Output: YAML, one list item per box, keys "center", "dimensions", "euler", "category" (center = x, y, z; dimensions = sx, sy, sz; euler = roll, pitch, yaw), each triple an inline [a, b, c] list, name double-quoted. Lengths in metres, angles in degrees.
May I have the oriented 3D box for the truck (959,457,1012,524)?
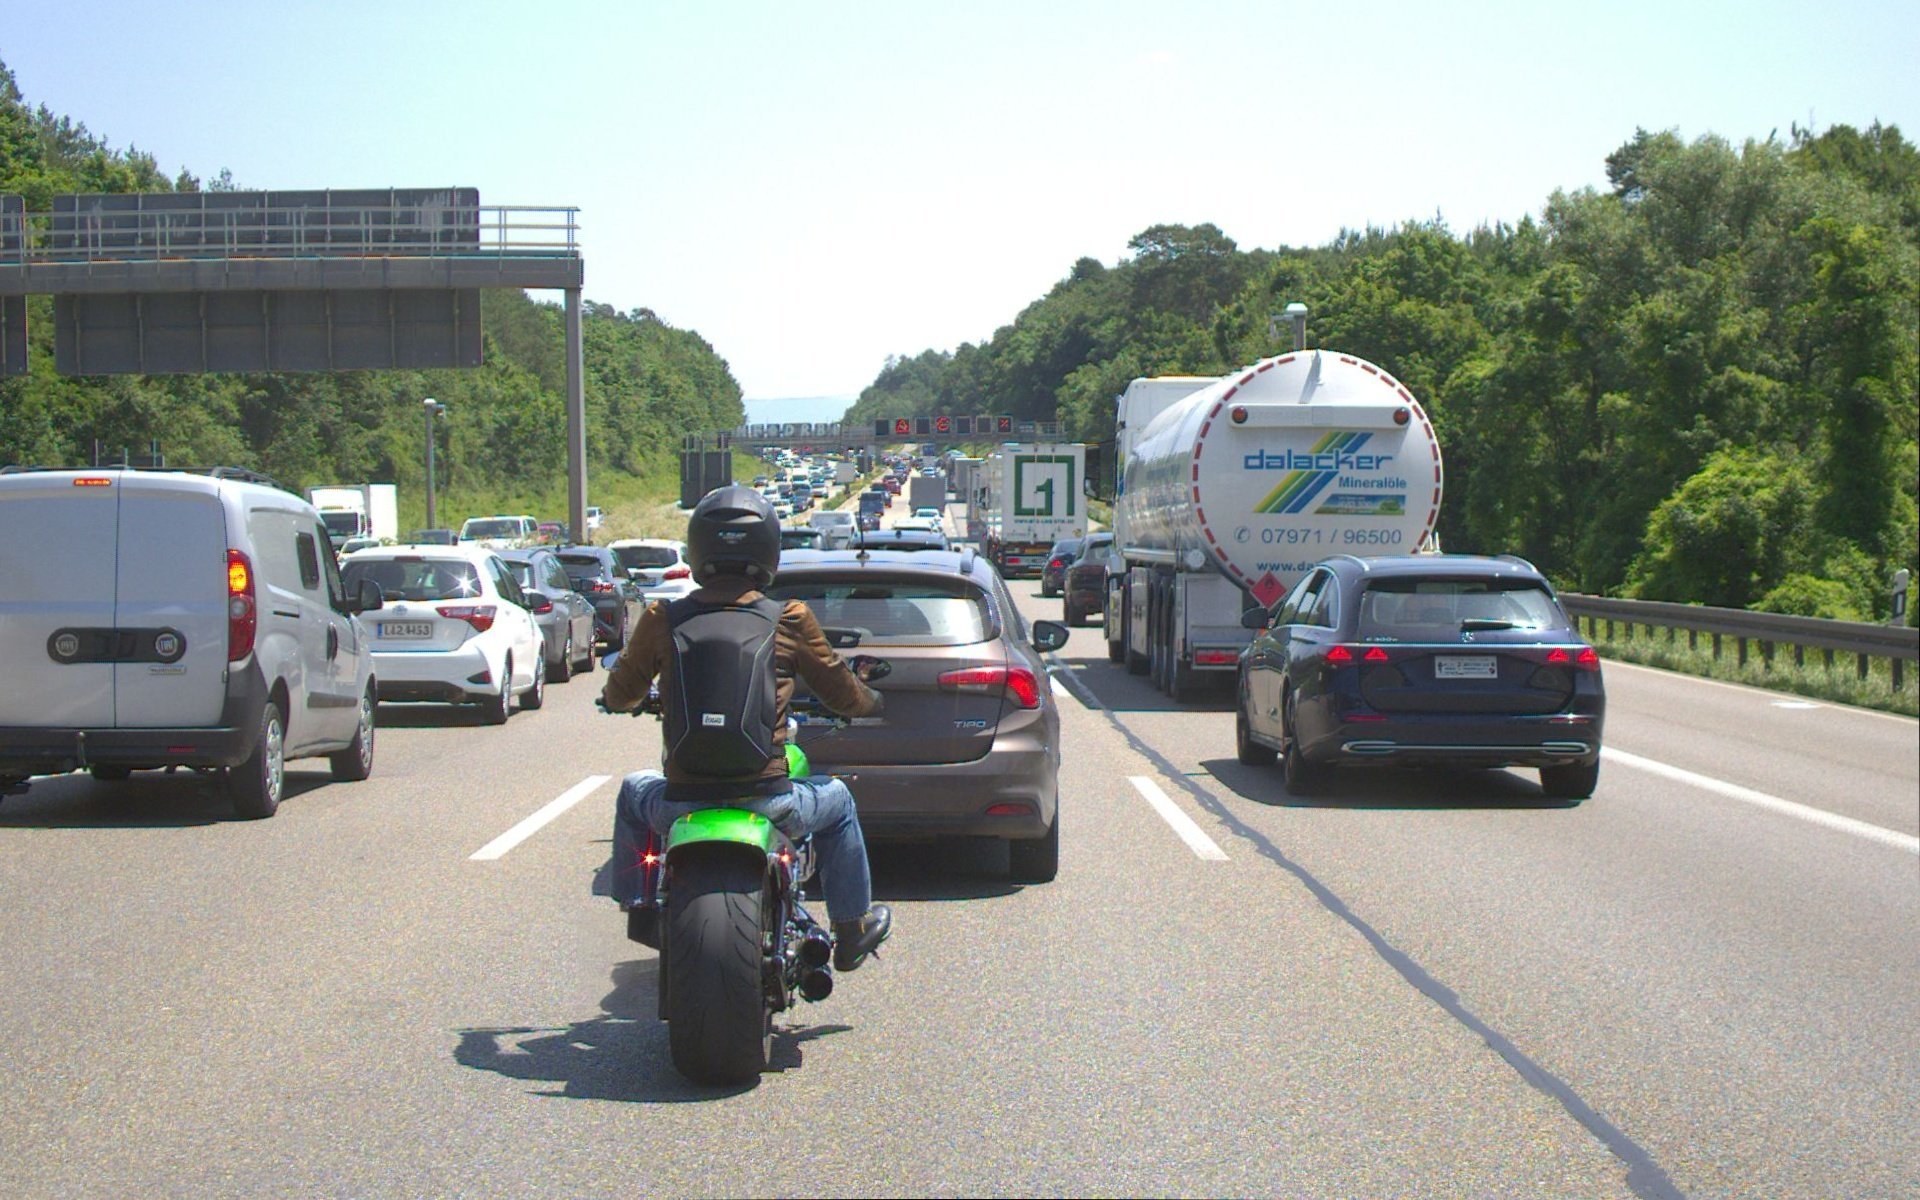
- center: [1.327, -5.868, 186.239]
  dimensions: [2.696, 3.394, 10.479]
  euler: [-1, 1, 0]
  category: "truck"

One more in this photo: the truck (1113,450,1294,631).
- center: [4.198, -1.055, 60.817]
  dimensions: [2.388, 2.969, 8.253]
  euler: [0, 1, -1]
  category: "truck"

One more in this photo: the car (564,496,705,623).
- center: [-5.341, -0.653, 56.817]
  dimensions: [1.993, 2.007, 4.000]
  euler: [1, 0, -1]
  category: "car"

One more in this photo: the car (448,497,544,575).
- center: [-12.415, -1.689, 92.243]
  dimensions: [1.993, 2.007, 4.000]
  euler: [1, 0, 1]
  category: "car"

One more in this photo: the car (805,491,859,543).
- center: [-5.035, -3.257, 135.597]
  dimensions: [1.993, 2.007, 4.000]
  euler: [-1, 1, 0]
  category: "car"

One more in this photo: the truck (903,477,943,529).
- center: [-2.572, -6.687, 238.525]
  dimensions: [2.696, 3.394, 10.479]
  euler: [-1, 1, 0]
  category: "truck"

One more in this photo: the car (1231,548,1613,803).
- center: [2.851, 0.431, 22.162]
  dimensions: [1.792, 1.453, 4.624]
  euler: [1, 0, 0]
  category: "car"

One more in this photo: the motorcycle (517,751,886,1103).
- center: [-0.707, 0.915, 10.222]
  dimensions: [0.936, 0.790, 2.299]
  euler: [1, 1, 0]
  category: "motorcycle"

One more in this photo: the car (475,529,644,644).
- center: [-5.327, -0.174, 46.173]
  dimensions: [1.993, 1.459, 4.000]
  euler: [1, 0, -3]
  category: "car"

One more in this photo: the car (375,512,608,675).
- center: [-5.105, -0.076, 37.996]
  dimensions: [1.993, 1.678, 4.330]
  euler: [1, 0, 0]
  category: "car"

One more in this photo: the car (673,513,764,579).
- center: [-5.499, -1.216, 78.639]
  dimensions: [1.764, 1.437, 4.000]
  euler: [1, 0, 0]
  category: "car"

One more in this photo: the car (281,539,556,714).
- center: [-4.631, 0.210, 29.919]
  dimensions: [1.776, 1.406, 4.000]
  euler: [1, 0, 0]
  category: "car"

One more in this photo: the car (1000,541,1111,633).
- center: [1.631, -0.227, 59.690]
  dimensions: [1.776, 1.522, 4.000]
  euler: [1, 0, 0]
  category: "car"

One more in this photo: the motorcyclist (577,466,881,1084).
- center: [-0.643, 0.478, 9.911]
  dimensions: [0.799, 1.682, 1.016]
  euler: [1, 0, 0]
  category: "motorcyclist"

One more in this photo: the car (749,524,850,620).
- center: [-3.442, -0.588, 74.410]
  dimensions: [1.993, 2.007, 4.000]
  euler: [1, 0, 0]
  category: "car"

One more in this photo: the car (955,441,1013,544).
- center: [0.933, -4.262, 138.839]
  dimensions: [2.167, 3.879, 9.330]
  euler: [1, 0, 0]
  category: "car"

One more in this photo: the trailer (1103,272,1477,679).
- center: [3.210, -1.138, 36.505]
  dimensions: [2.828, 3.658, 10.733]
  euler: [1, 0, 0]
  category: "trailer"

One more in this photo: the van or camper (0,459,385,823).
- center: [-4.617, 0.153, 20.119]
  dimensions: [1.853, 1.874, 4.562]
  euler: [1, 1, -2]
  category: "van or camper"

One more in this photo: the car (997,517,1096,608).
- center: [1.955, -0.848, 78.815]
  dimensions: [1.993, 2.007, 4.000]
  euler: [1, 0, -2]
  category: "car"

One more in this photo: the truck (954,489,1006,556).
- center: [0.669, -2.531, 113.025]
  dimensions: [1.591, 2.104, 3.751]
  euler: [1, 0, 2]
  category: "truck"

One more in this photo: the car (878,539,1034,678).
- center: [-0.095, 0.103, 46.187]
  dimensions: [1.993, 1.769, 4.000]
  euler: [1, 0, -1]
  category: "car"

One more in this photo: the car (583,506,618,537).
- center: [-23.983, -5.204, 229.358]
  dimensions: [1.900, 2.007, 4.000]
  euler: [-1, 1, -1]
  category: "car"

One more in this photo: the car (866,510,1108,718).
- center: [0.181, 0.113, 30.592]
  dimensions: [1.993, 1.705, 4.000]
  euler: [1, 0, -1]
  category: "car"

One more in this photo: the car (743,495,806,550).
- center: [-5.541, -2.310, 102.977]
  dimensions: [1.660, 1.594, 4.000]
  euler: [0, 1, 0]
  category: "car"

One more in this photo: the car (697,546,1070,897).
- center: [-0.335, 0.477, 16.347]
  dimensions: [1.541, 1.445, 4.000]
  euler: [1, 1, 0]
  category: "car"

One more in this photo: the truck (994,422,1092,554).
- center: [2.595, -3.386, 105.864]
  dimensions: [2.854, 3.808, 7.187]
  euler: [1, 0, 2]
  category: "truck"

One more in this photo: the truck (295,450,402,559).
- center: [-23.405, -3.608, 131.988]
  dimensions: [2.692, 3.976, 7.990]
  euler: [1, 0, 0]
  category: "truck"

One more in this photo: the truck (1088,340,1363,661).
- center: [3.165, -1.148, 42.651]
  dimensions: [2.828, 3.658, 6.429]
  euler: [1, 0, 0]
  category: "truck"

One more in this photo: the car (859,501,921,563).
- center: [-2.298, -2.241, 113.352]
  dimensions: [1.993, 2.007, 4.000]
  euler: [0, 1, -1]
  category: "car"

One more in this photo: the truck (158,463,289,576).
- center: [-19.767, -2.108, 92.570]
  dimensions: [2.177, 2.875, 6.743]
  euler: [1, 0, -1]
  category: "truck"

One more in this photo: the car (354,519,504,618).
- center: [-8.311, -0.517, 54.064]
  dimensions: [1.824, 1.489, 4.000]
  euler: [0, 1, -1]
  category: "car"
